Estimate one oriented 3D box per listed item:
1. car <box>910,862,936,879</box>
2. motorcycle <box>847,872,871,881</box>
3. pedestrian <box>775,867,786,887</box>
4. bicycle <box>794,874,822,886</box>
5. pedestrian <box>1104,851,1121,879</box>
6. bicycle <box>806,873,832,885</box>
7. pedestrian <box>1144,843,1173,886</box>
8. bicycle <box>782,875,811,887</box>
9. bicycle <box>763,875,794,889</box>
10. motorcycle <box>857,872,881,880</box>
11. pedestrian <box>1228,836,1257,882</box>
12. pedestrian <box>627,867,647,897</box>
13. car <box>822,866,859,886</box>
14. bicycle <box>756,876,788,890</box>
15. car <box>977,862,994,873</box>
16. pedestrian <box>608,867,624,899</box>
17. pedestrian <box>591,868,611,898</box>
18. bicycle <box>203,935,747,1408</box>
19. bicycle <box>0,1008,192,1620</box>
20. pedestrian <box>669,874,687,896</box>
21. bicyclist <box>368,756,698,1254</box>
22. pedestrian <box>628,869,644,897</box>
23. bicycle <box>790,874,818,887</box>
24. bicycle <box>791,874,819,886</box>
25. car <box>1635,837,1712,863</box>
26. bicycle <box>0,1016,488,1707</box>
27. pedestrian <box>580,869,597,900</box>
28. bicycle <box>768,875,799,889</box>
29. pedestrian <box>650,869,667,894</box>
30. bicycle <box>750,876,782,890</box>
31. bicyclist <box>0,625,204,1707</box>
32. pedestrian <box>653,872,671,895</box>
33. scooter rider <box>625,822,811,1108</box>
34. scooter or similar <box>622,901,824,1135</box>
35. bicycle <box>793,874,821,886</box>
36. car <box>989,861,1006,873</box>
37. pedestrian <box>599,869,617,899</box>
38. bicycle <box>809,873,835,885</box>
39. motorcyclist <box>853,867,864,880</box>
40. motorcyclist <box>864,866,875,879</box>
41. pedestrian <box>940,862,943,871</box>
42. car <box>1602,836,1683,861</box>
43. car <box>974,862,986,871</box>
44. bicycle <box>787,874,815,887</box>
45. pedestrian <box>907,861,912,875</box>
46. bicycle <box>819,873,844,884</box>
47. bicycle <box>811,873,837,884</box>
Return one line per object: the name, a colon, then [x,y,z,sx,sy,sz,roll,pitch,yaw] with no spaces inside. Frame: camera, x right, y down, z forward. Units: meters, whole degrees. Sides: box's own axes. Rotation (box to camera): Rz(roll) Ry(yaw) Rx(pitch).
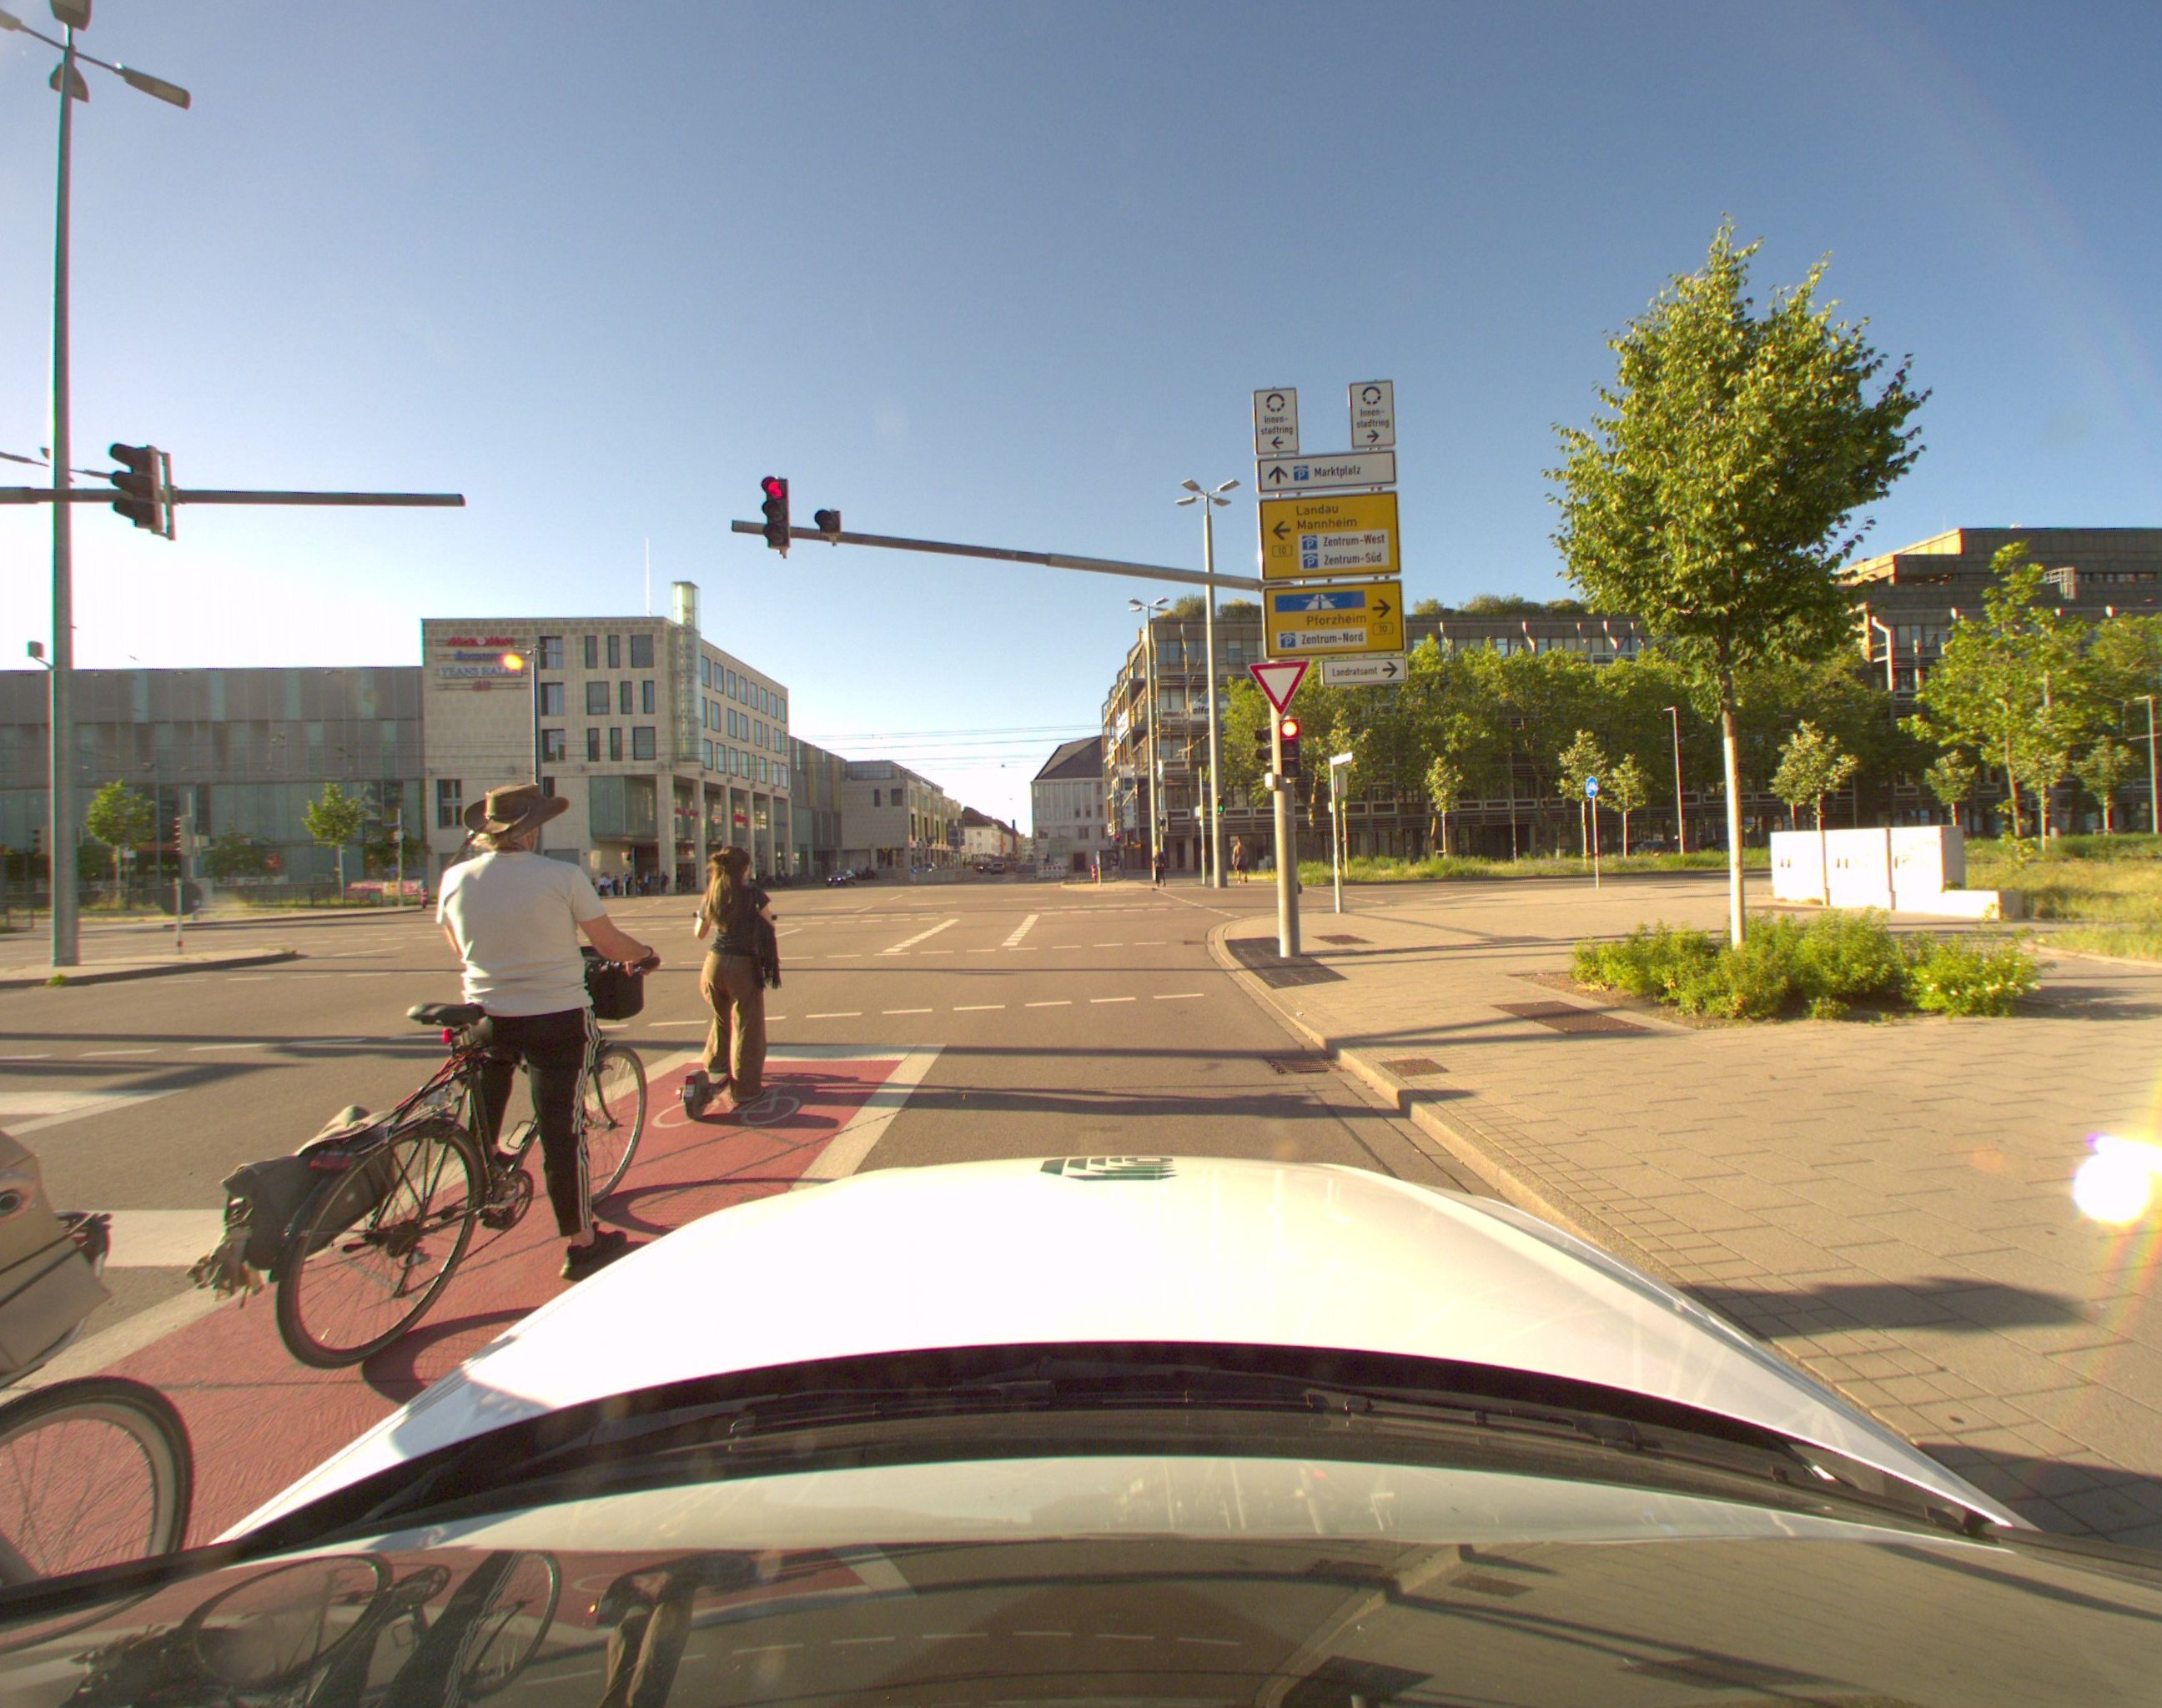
car: [-16.325,1.697,84.375,1.933,1.677,4.290,-2,-1,-3]
motorcycle: [-25.920,2.656,95.146,2.664,0.996,0.914,0,-1,-6]
pedestrian: [-30.134,2.321,81.643,0.949,1.982,1.000,-1,-1,-23]
bicycle: [-27.197,2.569,81.279,2.458,1.111,0.835,-2,0,2]
pedestrian: [2.250,0.781,57.338,1.005,1.911,1.053,-2,0,9]
bicycle: [-27.340,2.609,84.959,2.458,1.111,0.661,-2,0,2]
pedestrian: [2.880,0.384,30.495,0.894,1.549,0.922,-2,1,-5]
bicycle: [-26.649,2.525,76.232,2.458,1.111,0.594,-2,0,2]
bicycle: [-26.733,2.491,72.073,2.457,1.111,0.685,-2,0,4]
motorcycle: [-25.627,2.682,98.590,2.664,0.996,0.914,0,-1,-6]
pedestrian: [6.228,0.193,31.433,0.854,1.744,0.737,-2,0,-7]
pedestrian: [-31.639,1.994,58.030,1.067,2.129,1.086,-1,-1,-34]
car: [-20.824,1.888,70.693,1.931,1.581,4.293,-2,0,0]
bicycle: [-26.819,2.491,70.709,2.458,1.111,0.684,-2,0,2]
car: [-16.472,2.340,140.554,2.166,1.692,5.488,-2,-1,1]
pedestrian: [-32.541,2.023,56.945,0.902,2.124,0.937,-1,-1,-33]
pedestrian: [-33.945,2.040,57.619,0.895,2.124,0.944,-2,-1,-9]
bicycle: [-2.033,0.957,3.135,0.704,1.094,1.800,-2,0,0]
bicycle: [-2.424,0.929,1.003,0.621,1.116,1.816,-2,0,1]
pedestrian: [-29.057,2.214,58.700,0.951,1.571,0.831,-1,-1,-43]
bicyclist: [-2.053,0.513,3.169,0.697,1.669,0.786,-2,0,0]
pedestrian: [-32.478,2.088,59.376,0.920,2.014,1.013,-1,-1,-33]
bicycle: [-26.651,2.535,78.380,2.458,1.111,0.684,-2,0,2]
bicycle: [-27.142,2.558,80.026,2.458,1.111,0.684,-2,0,2]
car: [40.420,-0.266,55.599,3.855,1.486,1.845,-2,-3,-1]
bicycle: [-1.685,0.921,0.930,0.648,1.094,1.800,-2,0,1]
pedestrian: [-35.262,2.172,58.309,0.900,2.124,0.939,-1,-1,-25]
bicycle: [-26.614,2.482,72.880,2.458,1.111,0.684,-2,0,2]
pedestrian: [-33.865,2.198,65.323,0.914,2.014,1.020,-2,-1,-10]
bicycle: [-26.836,2.485,69.362,2.394,1.113,0.658,-2,0,1]
bicyclist: [-1.696,0.486,0.824,0.648,1.543,0.847,-2,0,1]
pedestrian: [-30.611,2.143,59.494,1.013,1.651,0.937,-1,-1,-41]
scooter rider: [-2.169,0.605,5.005,0.640,1.544,1.116,-1,0,-1]
scooter or similar: [-2.181,0.936,5.176,0.640,1.175,1.483,-1,0,-1]
bicycle: [-26.661,2.541,79.229,2.458,1.111,0.835,-2,0,2]
car: [-11.132,1.768,108.796,1.931,1.450,4.259,-2,-1,-2]
pedestrian: [-34.061,2.164,58.662,0.898,2.124,0.940,-1,-1,-20]
bicycle: [-27.288,2.620,85.727,2.458,1.111,0.661,-2,0,2]
motorcyclist: [-26.004,2.258,95.131,1.035,1.471,0.914,0,-1,-5]
motorcyclist: [-25.607,2.256,98.610,1.135,1.575,0.914,0,-1,-5]
pedestrian: [-23.033,2.049,134.286,0.487,1.356,0.563,0,-1,-4]
car: [41.774,-0.396,60.608,4.848,1.680,1.995,-2,1,-7]
car: [-21.508,2.720,173.655,2.168,1.873,5.610,-2,-1,-2]
bicycle: [-26.619,2.535,77.458,2.458,1.111,0.684,-2,0,2]
pedestrian: [-24.665,2.005,117.243,0.616,2.014,0.476,0,-1,-13]
bicycle: [-26.959,2.619,88.086,2.458,1.111,0.661,-2,0,2]
bicycle: [-27.334,2.635,86.600,2.458,1.111,0.631,-2,0,2]
